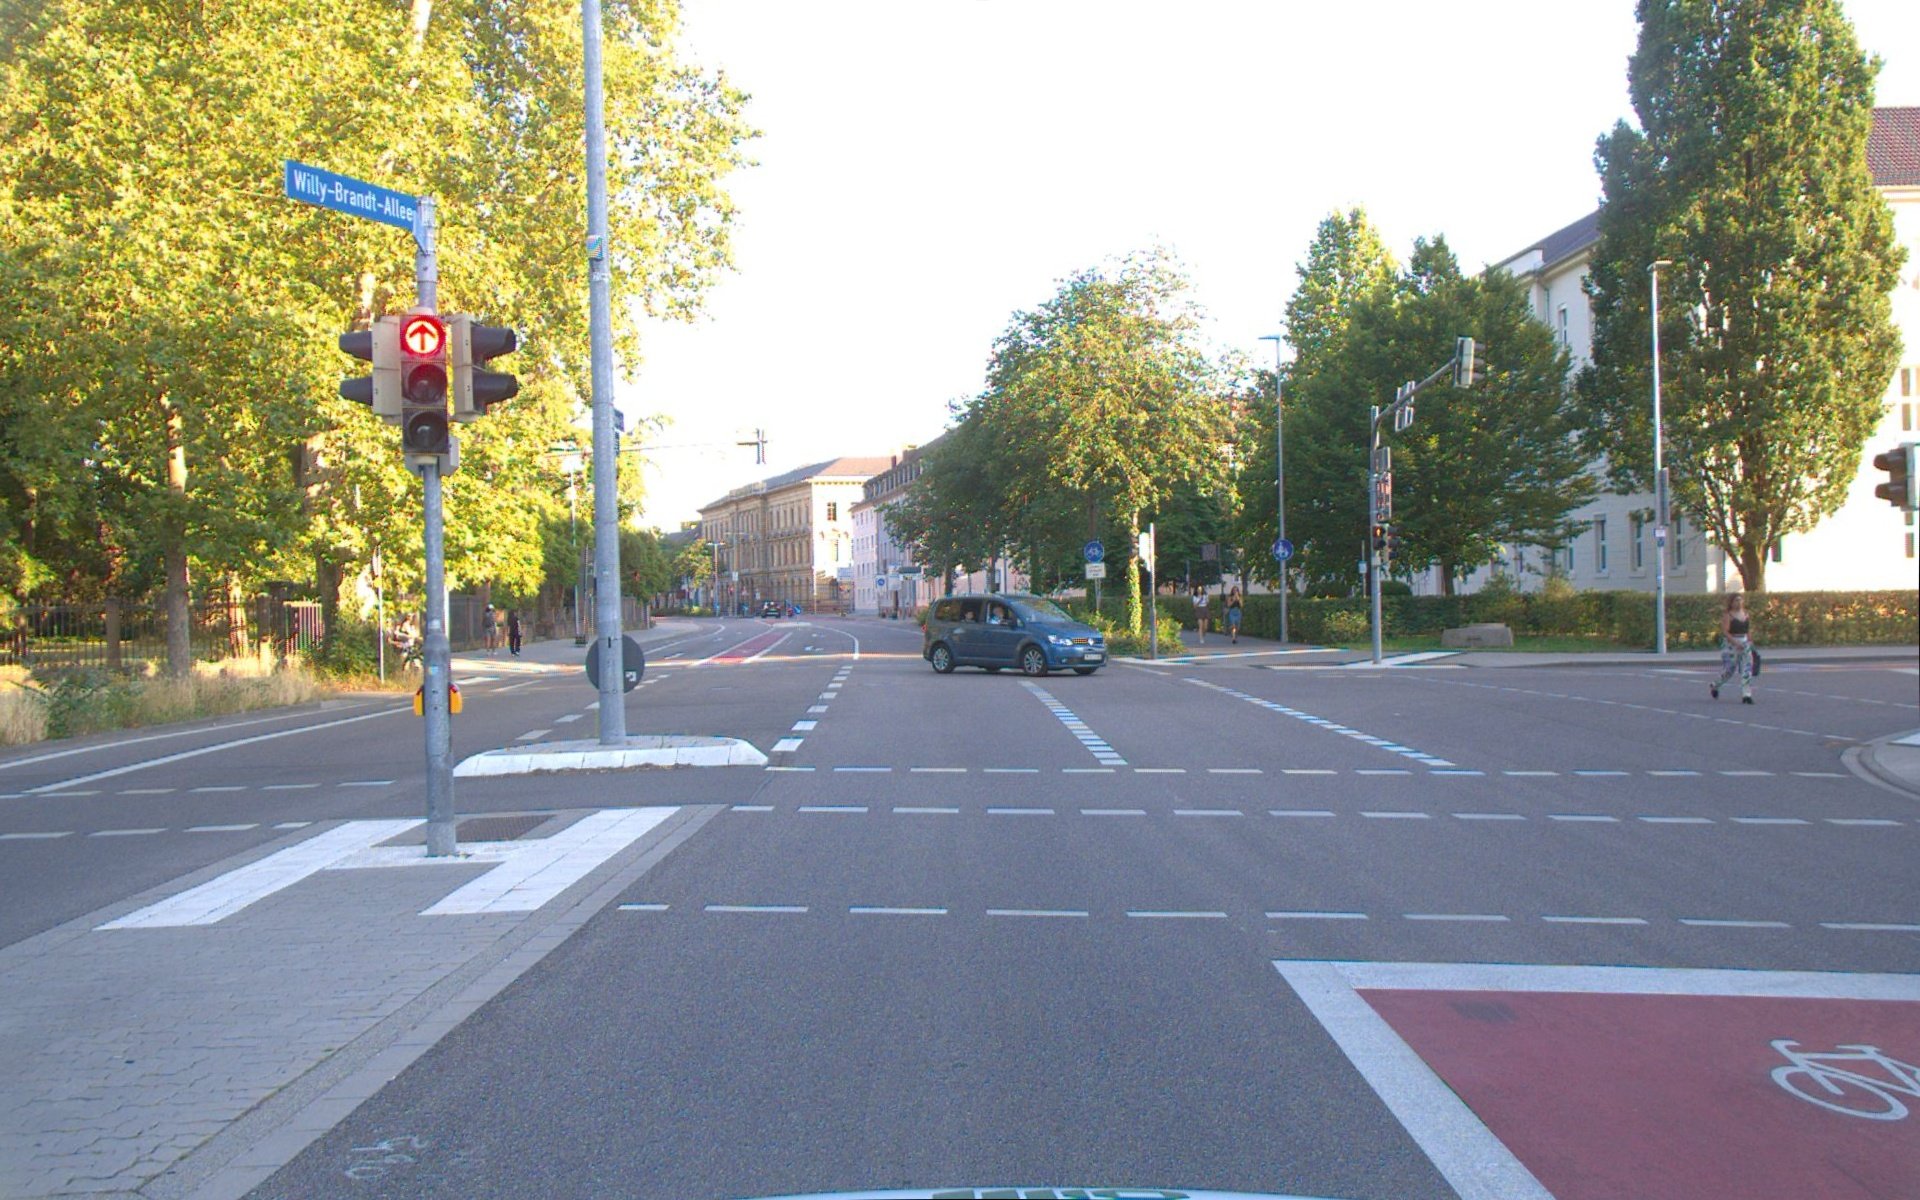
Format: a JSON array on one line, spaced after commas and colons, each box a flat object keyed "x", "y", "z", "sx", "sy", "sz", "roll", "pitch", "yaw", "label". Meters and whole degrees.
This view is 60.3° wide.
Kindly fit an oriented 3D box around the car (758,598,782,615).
[{"x": -19.485, "y": 0.635, "z": 169.409, "sx": 1.789, "sy": 1.616, "sz": 3.984, "roll": -2, "pitch": 0, "yaw": -15, "label": "car"}]

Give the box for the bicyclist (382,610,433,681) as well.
[{"x": -13.376, "y": 1.096, "z": 40.042, "sx": 0.938, "sy": 1.659, "sz": 0.752, "roll": -1, "pitch": 0, "yaw": 0, "label": "bicyclist"}]

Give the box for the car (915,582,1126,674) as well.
[{"x": 1.195, "y": 0.571, "z": 34.054, "sx": 1.842, "sy": 1.750, "sz": 4.225, "roll": -1, "pitch": 0, "yaw": -44, "label": "car"}]

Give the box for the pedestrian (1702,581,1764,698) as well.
[{"x": 11.176, "y": 0.555, "z": 23.923, "sx": 0.587, "sy": 1.664, "sz": 0.691, "roll": 0, "pitch": 0, "yaw": 0, "label": "pedestrian"}]

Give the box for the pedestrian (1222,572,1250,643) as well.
[{"x": 8.131, "y": 0.219, "z": 48.742, "sx": 0.622, "sy": 2.049, "sz": 0.720, "roll": 0, "pitch": 0, "yaw": -5, "label": "pedestrian"}]

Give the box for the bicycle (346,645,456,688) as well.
[{"x": -13.513, "y": 1.597, "z": 40.038, "sx": 2.380, "sy": 0.940, "sz": 0.775, "roll": -1, "pitch": 0, "yaw": 0, "label": "bicycle"}]

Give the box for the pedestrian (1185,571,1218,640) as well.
[{"x": 7.209, "y": 0.157, "z": 49.377, "sx": 0.852, "sy": 2.049, "sz": 0.722, "roll": 0, "pitch": 0, "yaw": -1, "label": "pedestrian"}]

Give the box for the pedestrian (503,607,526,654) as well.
[{"x": -15.380, "y": 1.054, "z": 57.133, "sx": 0.587, "sy": 1.601, "sz": 0.646, "roll": -1, "pitch": 0, "yaw": -1, "label": "pedestrian"}]

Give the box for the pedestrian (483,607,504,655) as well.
[{"x": -16.126, "y": 1.055, "z": 57.135, "sx": 0.524, "sy": 1.624, "sz": 0.590, "roll": -1, "pitch": 0, "yaw": -1, "label": "pedestrian"}]

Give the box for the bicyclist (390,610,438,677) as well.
[{"x": -13.823, "y": 1.102, "z": 41.875, "sx": 0.938, "sy": 1.659, "sz": 0.752, "roll": -1, "pitch": 0, "yaw": 0, "label": "bicyclist"}]

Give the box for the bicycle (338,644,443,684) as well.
[{"x": -14.400, "y": 1.615, "z": 41.866, "sx": 2.380, "sy": 0.940, "sz": 0.775, "roll": -1, "pitch": 0, "yaw": 0, "label": "bicycle"}]
